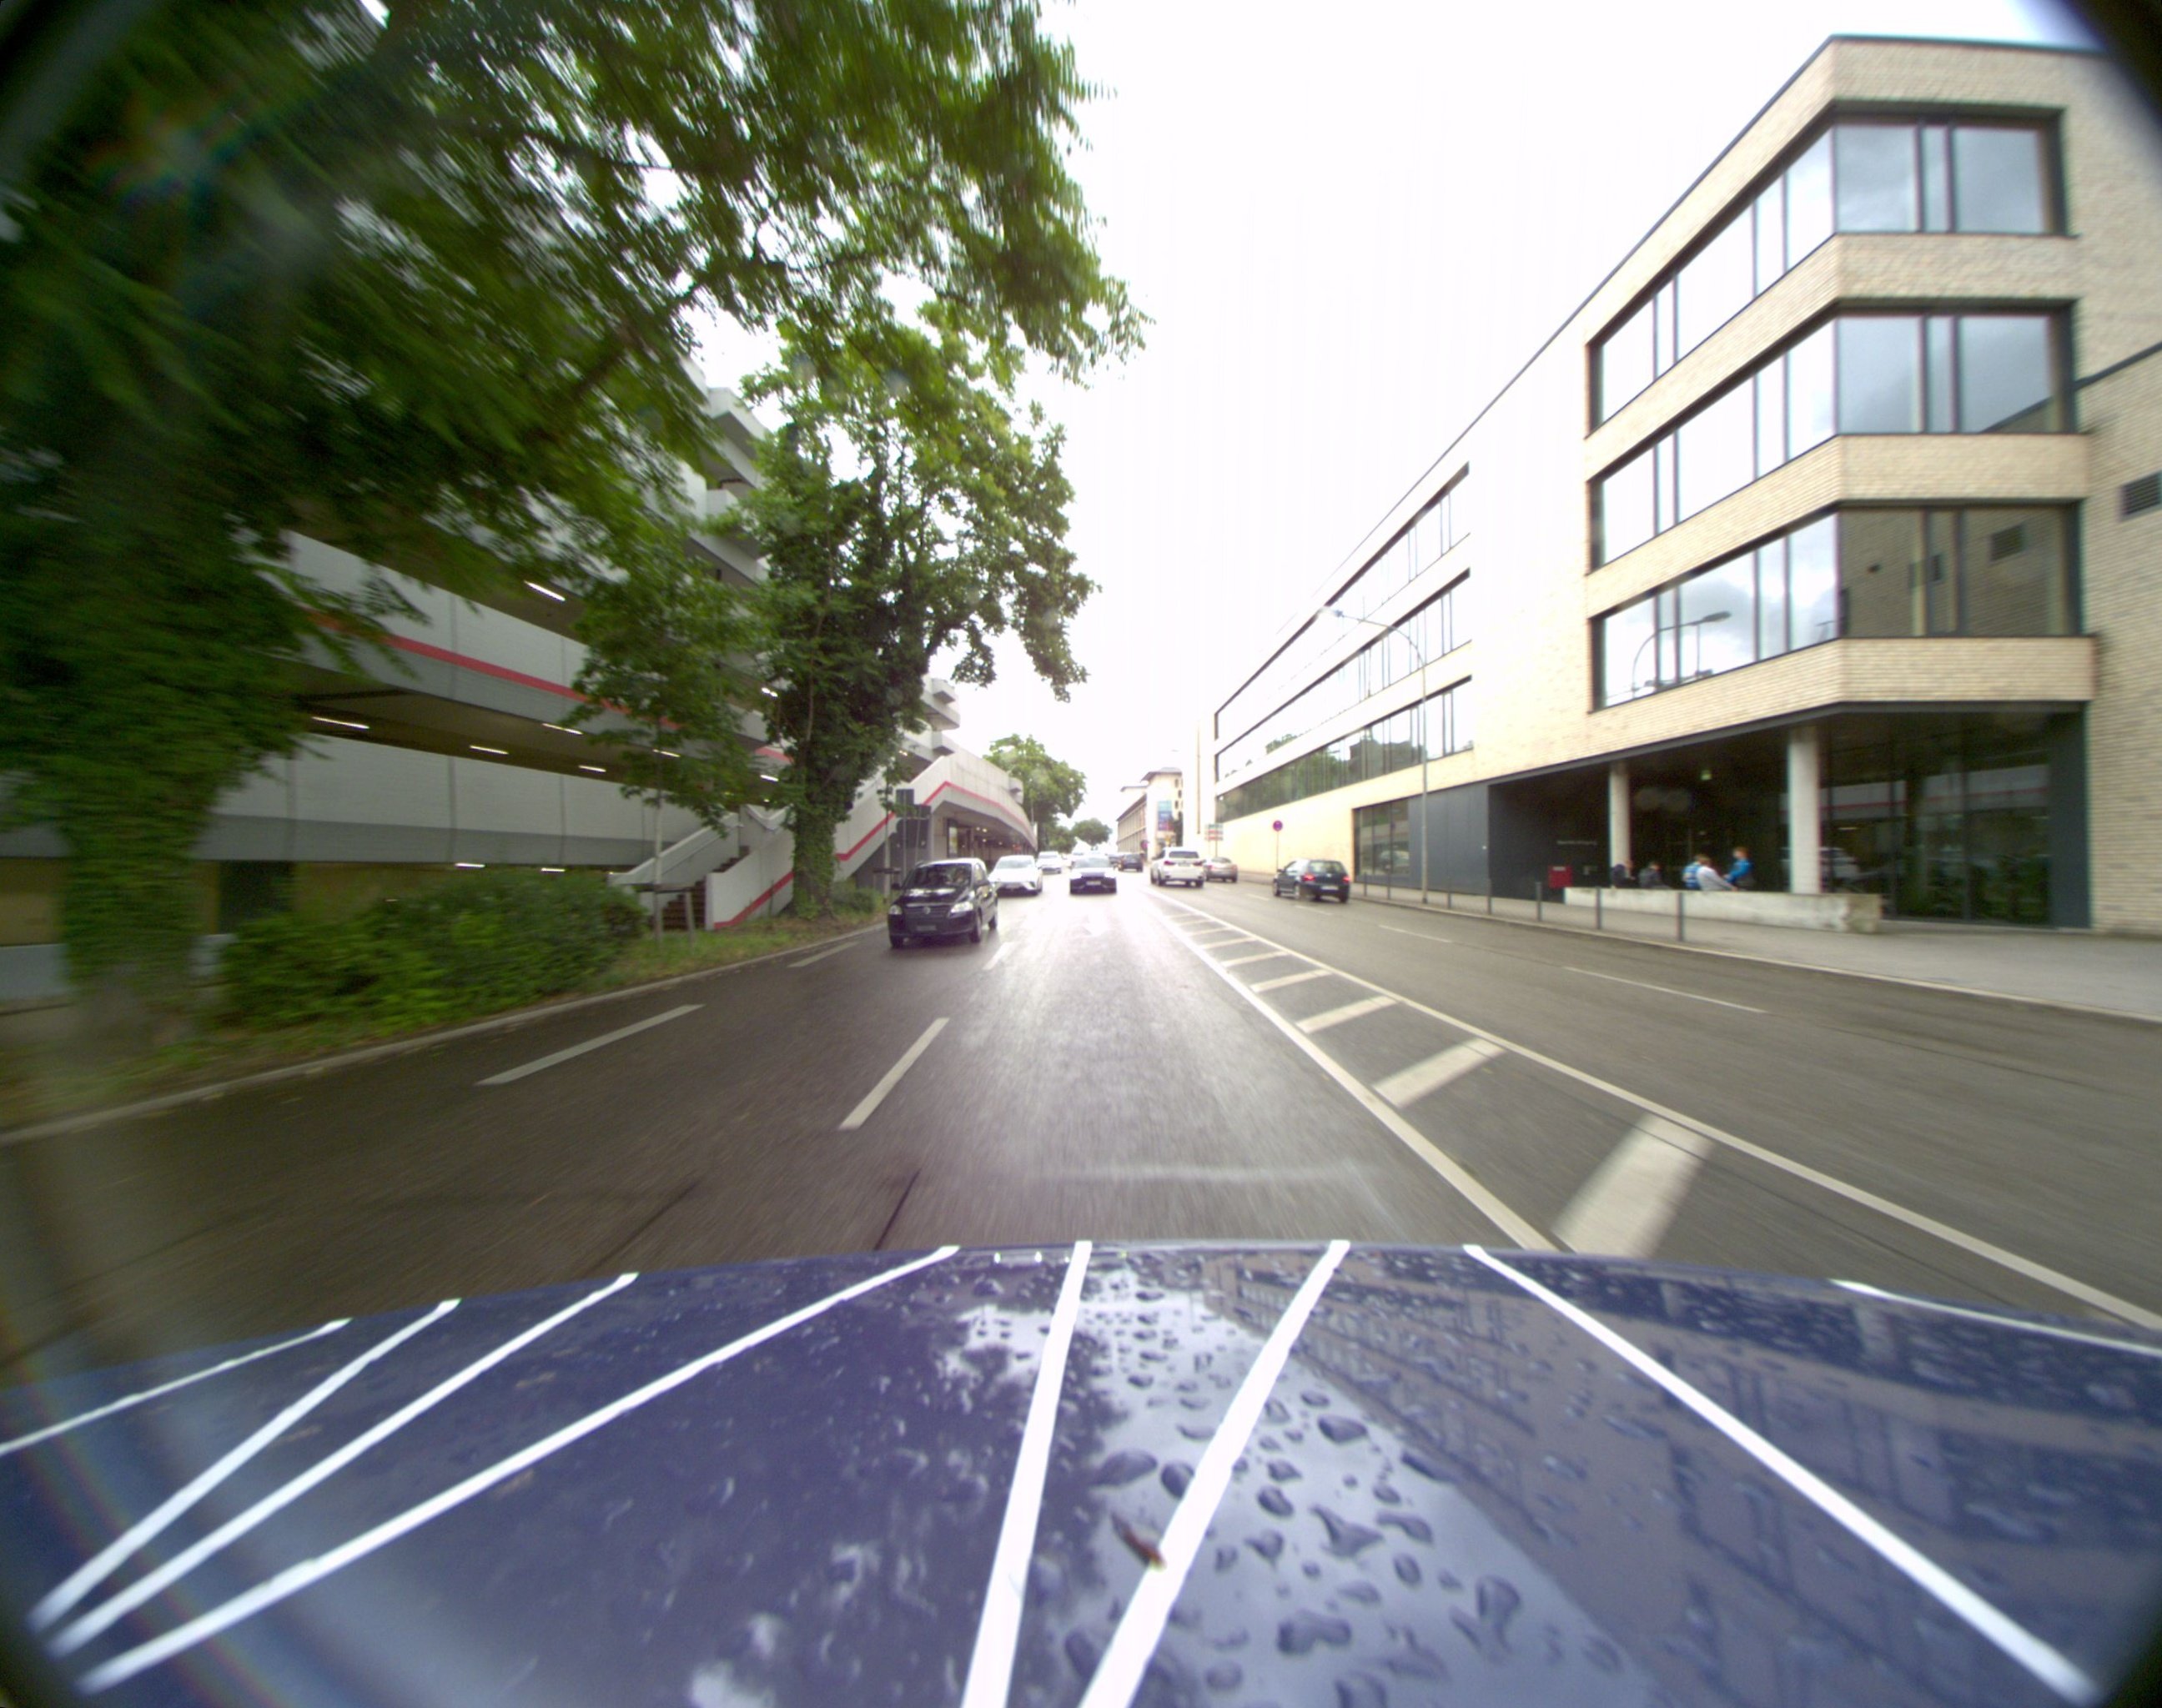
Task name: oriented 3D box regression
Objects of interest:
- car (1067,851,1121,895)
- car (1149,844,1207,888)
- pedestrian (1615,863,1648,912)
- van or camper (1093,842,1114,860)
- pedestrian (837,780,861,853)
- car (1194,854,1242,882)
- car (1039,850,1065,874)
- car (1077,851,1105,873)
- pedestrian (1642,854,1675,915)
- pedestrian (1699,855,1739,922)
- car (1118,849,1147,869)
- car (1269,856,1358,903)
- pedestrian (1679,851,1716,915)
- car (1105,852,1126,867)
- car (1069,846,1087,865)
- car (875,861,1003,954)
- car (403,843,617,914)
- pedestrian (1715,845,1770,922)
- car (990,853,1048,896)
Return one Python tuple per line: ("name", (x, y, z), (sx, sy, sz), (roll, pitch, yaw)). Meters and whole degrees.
("car", (0.491, 0.681, 29.059), (1.852, 1.516, 3.990), (-2, 0, 1))
("car", (4.371, 0.497, 34.875), (1.896, 1.801, 4.573), (2, 1, -2))
("pedestrian", (14.266, 0.863, 19.705), (0.550, 1.208, 0.421), (-2, 2, 3))
("van or camper", (3.272, -0.477, 111.457), (2.108, 2.567, 5.903), (1, 1, -6))
("pedestrian", (-6.972, -1.112, 22.833), (0.515, 2.142, 0.494), (-1, 1, 5))
("car", (7.574, 0.730, 42.372), (1.834, 1.380, 4.228), (2, 1, -1))
("car", (-2.126, 0.558, 56.785), (1.727, 1.628, 3.999), (-2, 1, 1))
("car", (0.765, 0.588, 57.618), (1.998, 1.477, 4.000), (-2, 1, 2))
("pedestrian", (14.247, 0.750, 18.753), (0.450, 1.467, 0.463), (-2, 2, -4))
("pedestrian", (14.272, 0.759, 17.004), (0.442, 1.467, 0.528), (-2, 2, -4))
("car", (4.119, 0.366, 61.119), (1.816, 1.454, 4.286), (2, 1, -2))
("car", (7.939, 0.835, 26.292), (1.750, 1.404, 3.970), (2, 1, -1))
("pedestrian", (14.394, 0.672, 17.742), (0.450, 1.467, 0.463), (-2, 2, -4))
("car", (3.775, 0.602, 83.818), (1.888, 1.489, 4.560), (1, 1, -2))
("car", (-0.300, 0.170, 89.093), (1.998, 2.002, 3.999), (-2, 1, 0))
("car", (-2.642, 0.933, 14.988), (1.683, 1.516, 3.990), (-2, 0, 1))
("car", (-13.276, 0.595, 17.801), (3.740, 1.530, 1.812), (-1, -3, 6))
("pedestrian", (15.131, 0.668, 17.402), (0.636, 1.704, 0.704), (-2, 2, 0))
("car", (-2.341, 0.752, 29.731), (1.915, 1.443, 4.036), (-2, 1, 0))
